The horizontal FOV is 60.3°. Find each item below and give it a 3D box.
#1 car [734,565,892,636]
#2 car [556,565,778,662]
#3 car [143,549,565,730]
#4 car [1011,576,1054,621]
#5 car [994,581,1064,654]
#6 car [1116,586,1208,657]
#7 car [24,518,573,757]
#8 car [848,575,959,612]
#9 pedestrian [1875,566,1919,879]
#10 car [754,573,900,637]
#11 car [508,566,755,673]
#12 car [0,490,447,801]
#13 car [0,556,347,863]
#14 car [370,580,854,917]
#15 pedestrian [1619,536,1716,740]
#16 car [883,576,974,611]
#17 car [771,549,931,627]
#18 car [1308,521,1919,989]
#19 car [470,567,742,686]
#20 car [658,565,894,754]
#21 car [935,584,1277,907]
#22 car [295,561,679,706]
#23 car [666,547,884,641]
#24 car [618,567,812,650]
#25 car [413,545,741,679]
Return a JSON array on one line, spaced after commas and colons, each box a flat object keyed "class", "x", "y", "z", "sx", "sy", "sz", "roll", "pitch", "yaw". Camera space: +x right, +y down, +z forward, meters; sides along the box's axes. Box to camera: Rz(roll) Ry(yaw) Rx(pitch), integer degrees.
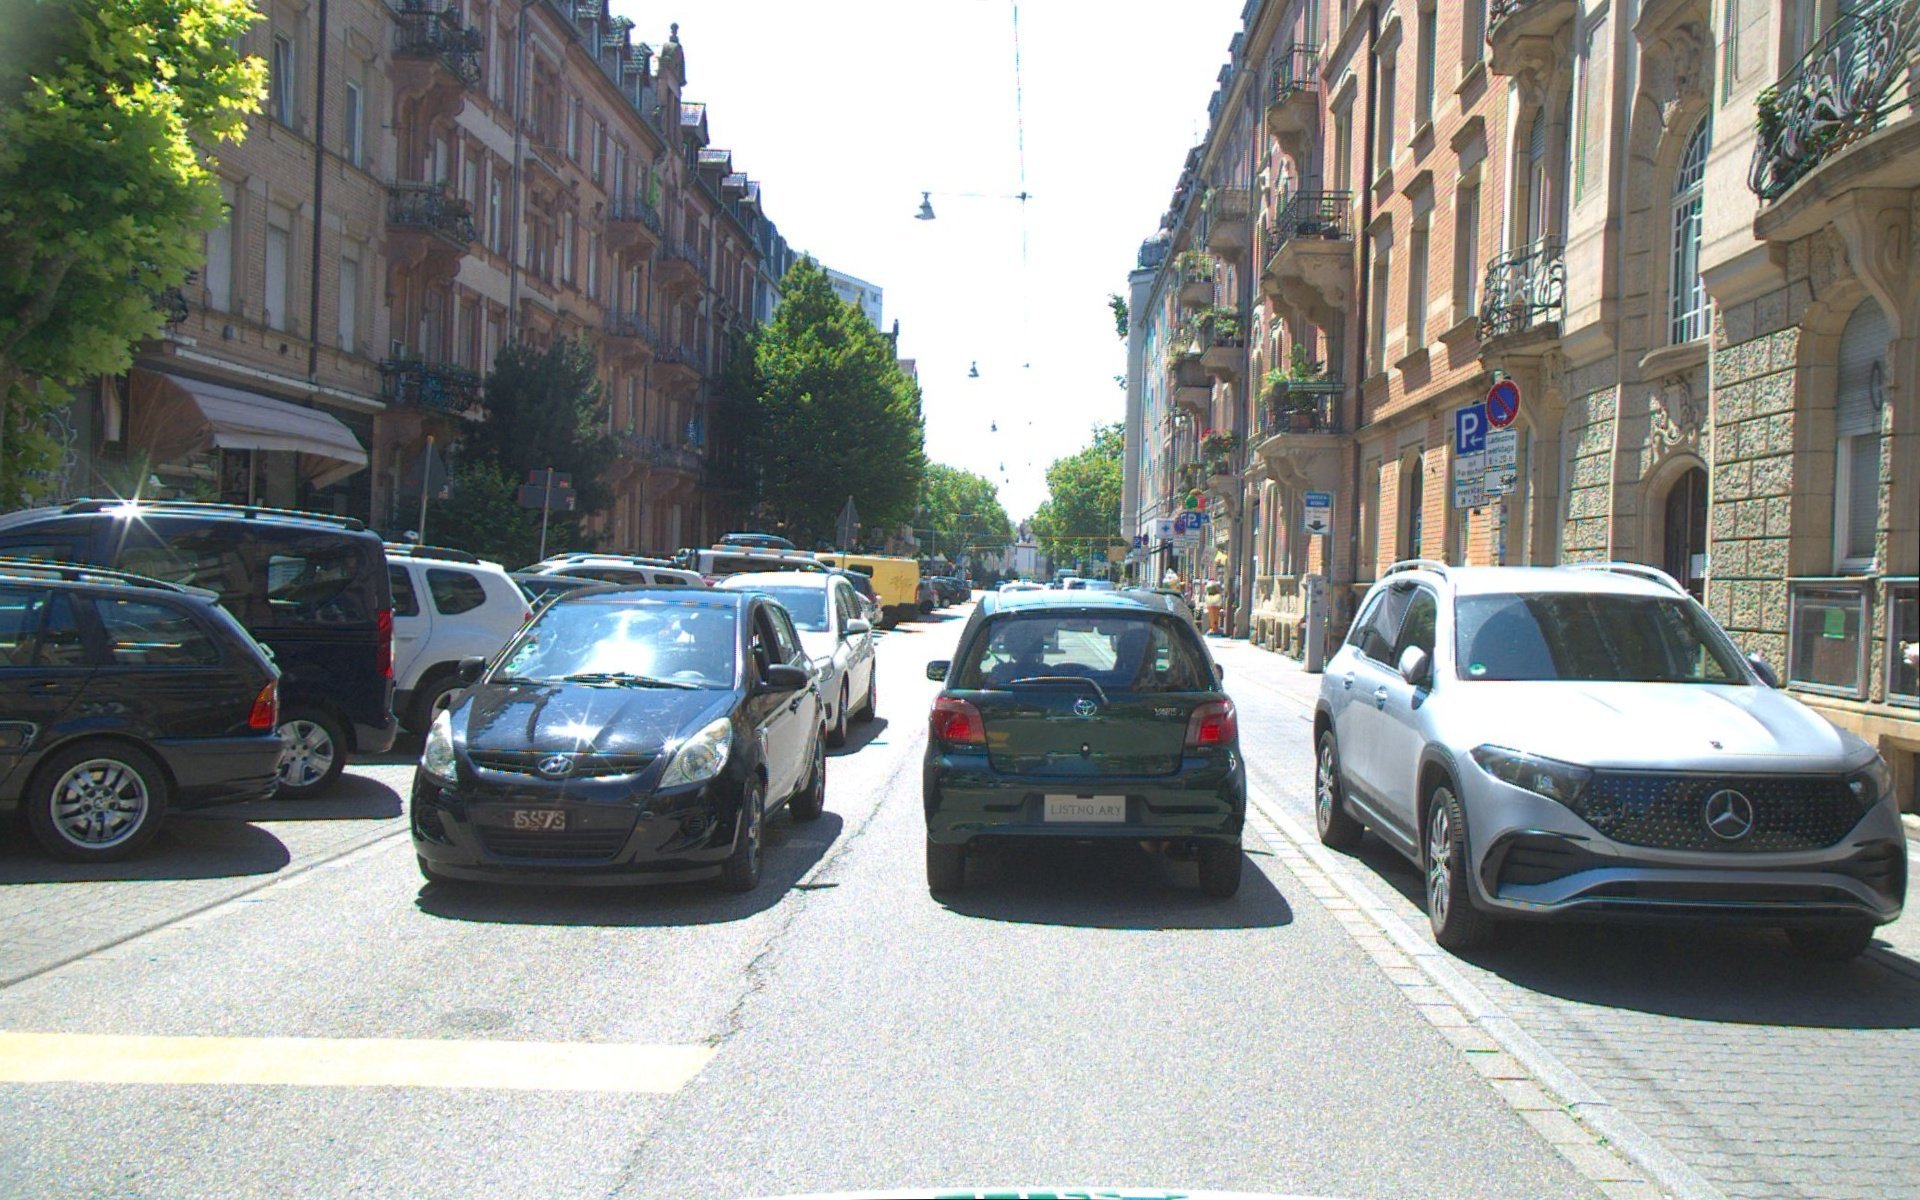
[{"class": "car", "x": -3.962, "y": 0.017, "z": 44.559, "sx": 3.854, "sy": 1.738, "sz": 1.854, "roll": 2, "pitch": 0, "yaw": -21}, {"class": "car", "x": -5.596, "y": 0.252, "z": 31.484, "sx": 3.854, "sy": 1.647, "sz": 1.854, "roll": 2, "pitch": 0, "yaw": -21}, {"class": "car", "x": -5.793, "y": 0.379, "z": 15.963, "sx": 3.571, "sy": 1.483, "sz": 1.613, "roll": 4, "pitch": 0, "yaw": -24}, {"class": "car", "x": 2.807, "y": -0.080, "z": 63.862, "sx": 1.490, "sy": 1.620, "sz": 3.266, "roll": 2, "pitch": 1, "yaw": 4}, {"class": "car", "x": 1.576, "y": 0.374, "z": 38.130, "sx": 1.491, "sy": 1.547, "sz": 3.265, "roll": 2, "pitch": 1, "yaw": 2}, {"class": "car", "x": 4.441, "y": 0.444, "z": 36.821, "sx": 1.718, "sy": 1.454, "sz": 4.002, "roll": 1, "pitch": 0, "yaw": 3}, {"class": "car", "x": -5.388, "y": 0.320, "z": 13.851, "sx": 3.929, "sy": 1.686, "sz": 1.749, "roll": 4, "pitch": 0, "yaw": -21}, {"class": "car", "x": -2.525, "y": -0.299, "z": 73.581, "sx": 4.499, "sy": 1.453, "sz": 1.985, "roll": 2, "pitch": 0, "yaw": -25}, {"class": "pedestrian", "x": 5.418, "y": 0.658, "z": 8.787, "sx": 0.628, "sy": 1.652, "sz": 0.804, "roll": 2, "pitch": 0, "yaw": 3}, {"class": "car", "x": -3.822, "y": 0.148, "z": 47.371, "sx": 3.806, "sy": 1.668, "sz": 1.774, "roll": 2, "pitch": 0, "yaw": -21}, {"class": "car", "x": -5.629, "y": 0.335, "z": 28.251, "sx": 3.854, "sy": 1.647, "sz": 1.854, "roll": 2, "pitch": 0, "yaw": -21}, {"class": "car", "x": -5.603, "y": 0.265, "z": 10.834, "sx": 3.944, "sy": 1.835, "sz": 1.752, "roll": 4, "pitch": 0, "yaw": -30}, {"class": "car", "x": -5.445, "y": 0.483, "z": 8.586, "sx": 3.944, "sy": 1.436, "sz": 1.952, "roll": 4, "pitch": 1, "yaw": -30}, {"class": "car", "x": -1.705, "y": 0.653, "z": 9.467, "sx": 1.718, "sy": 1.469, "sz": 4.002, "roll": 1, "pitch": 0, "yaw": 3}, {"class": "pedestrian", "x": 6.328, "y": 0.325, "z": 14.825, "sx": 0.502, "sy": 1.781, "sz": 0.749, "roll": 0, "pitch": 1, "yaw": -5}, {"class": "car", "x": -1.744, "y": -0.352, "z": 90.653, "sx": 4.547, "sy": 1.756, "sz": 1.985, "roll": 2, "pitch": 0, "yaw": -25}, {"class": "car", "x": -3.392, "y": -0.377, "z": 51.311, "sx": 4.499, "sy": 2.225, "sz": 1.985, "roll": 2, "pitch": 0, "yaw": -25}, {"class": "car", "x": 3.051, "y": 0.565, "z": 8.474, "sx": 1.832, "sy": 1.743, "sz": 4.506, "roll": 0, "pitch": 0, "yaw": 3}, {"class": "car", "x": -5.500, "y": 0.405, "z": 25.645, "sx": 3.854, "sy": 1.647, "sz": 1.854, "roll": 2, "pitch": 0, "yaw": -21}, {"class": "car", "x": -1.741, "y": 0.521, "z": 17.033, "sx": 1.718, "sy": 1.674, "sz": 4.379, "roll": -1, "pitch": 0, "yaw": 3}, {"class": "car", "x": 0.665, "y": 0.672, "z": 9.415, "sx": 1.581, "sy": 1.511, "sz": 3.240, "roll": 0, "pitch": 1, "yaw": -1}, {"class": "car", "x": -5.434, "y": 0.388, "z": 19.173, "sx": 3.878, "sy": 1.495, "sz": 1.843, "roll": 2, "pitch": 1, "yaw": -36}, {"class": "car", "x": -4.388, "y": -0.129, "z": 39.322, "sx": 4.715, "sy": 2.029, "sz": 2.036, "roll": 2, "pitch": 0, "yaw": -27}, {"class": "car", "x": -5.362, "y": 0.178, "z": 36.138, "sx": 3.854, "sy": 1.647, "sz": 1.854, "roll": 2, "pitch": 0, "yaw": -21}, {"class": "car", "x": -5.116, "y": 0.176, "z": 22.298, "sx": 3.882, "sy": 1.647, "sz": 1.841, "roll": 2, "pitch": 1, "yaw": -38}]
